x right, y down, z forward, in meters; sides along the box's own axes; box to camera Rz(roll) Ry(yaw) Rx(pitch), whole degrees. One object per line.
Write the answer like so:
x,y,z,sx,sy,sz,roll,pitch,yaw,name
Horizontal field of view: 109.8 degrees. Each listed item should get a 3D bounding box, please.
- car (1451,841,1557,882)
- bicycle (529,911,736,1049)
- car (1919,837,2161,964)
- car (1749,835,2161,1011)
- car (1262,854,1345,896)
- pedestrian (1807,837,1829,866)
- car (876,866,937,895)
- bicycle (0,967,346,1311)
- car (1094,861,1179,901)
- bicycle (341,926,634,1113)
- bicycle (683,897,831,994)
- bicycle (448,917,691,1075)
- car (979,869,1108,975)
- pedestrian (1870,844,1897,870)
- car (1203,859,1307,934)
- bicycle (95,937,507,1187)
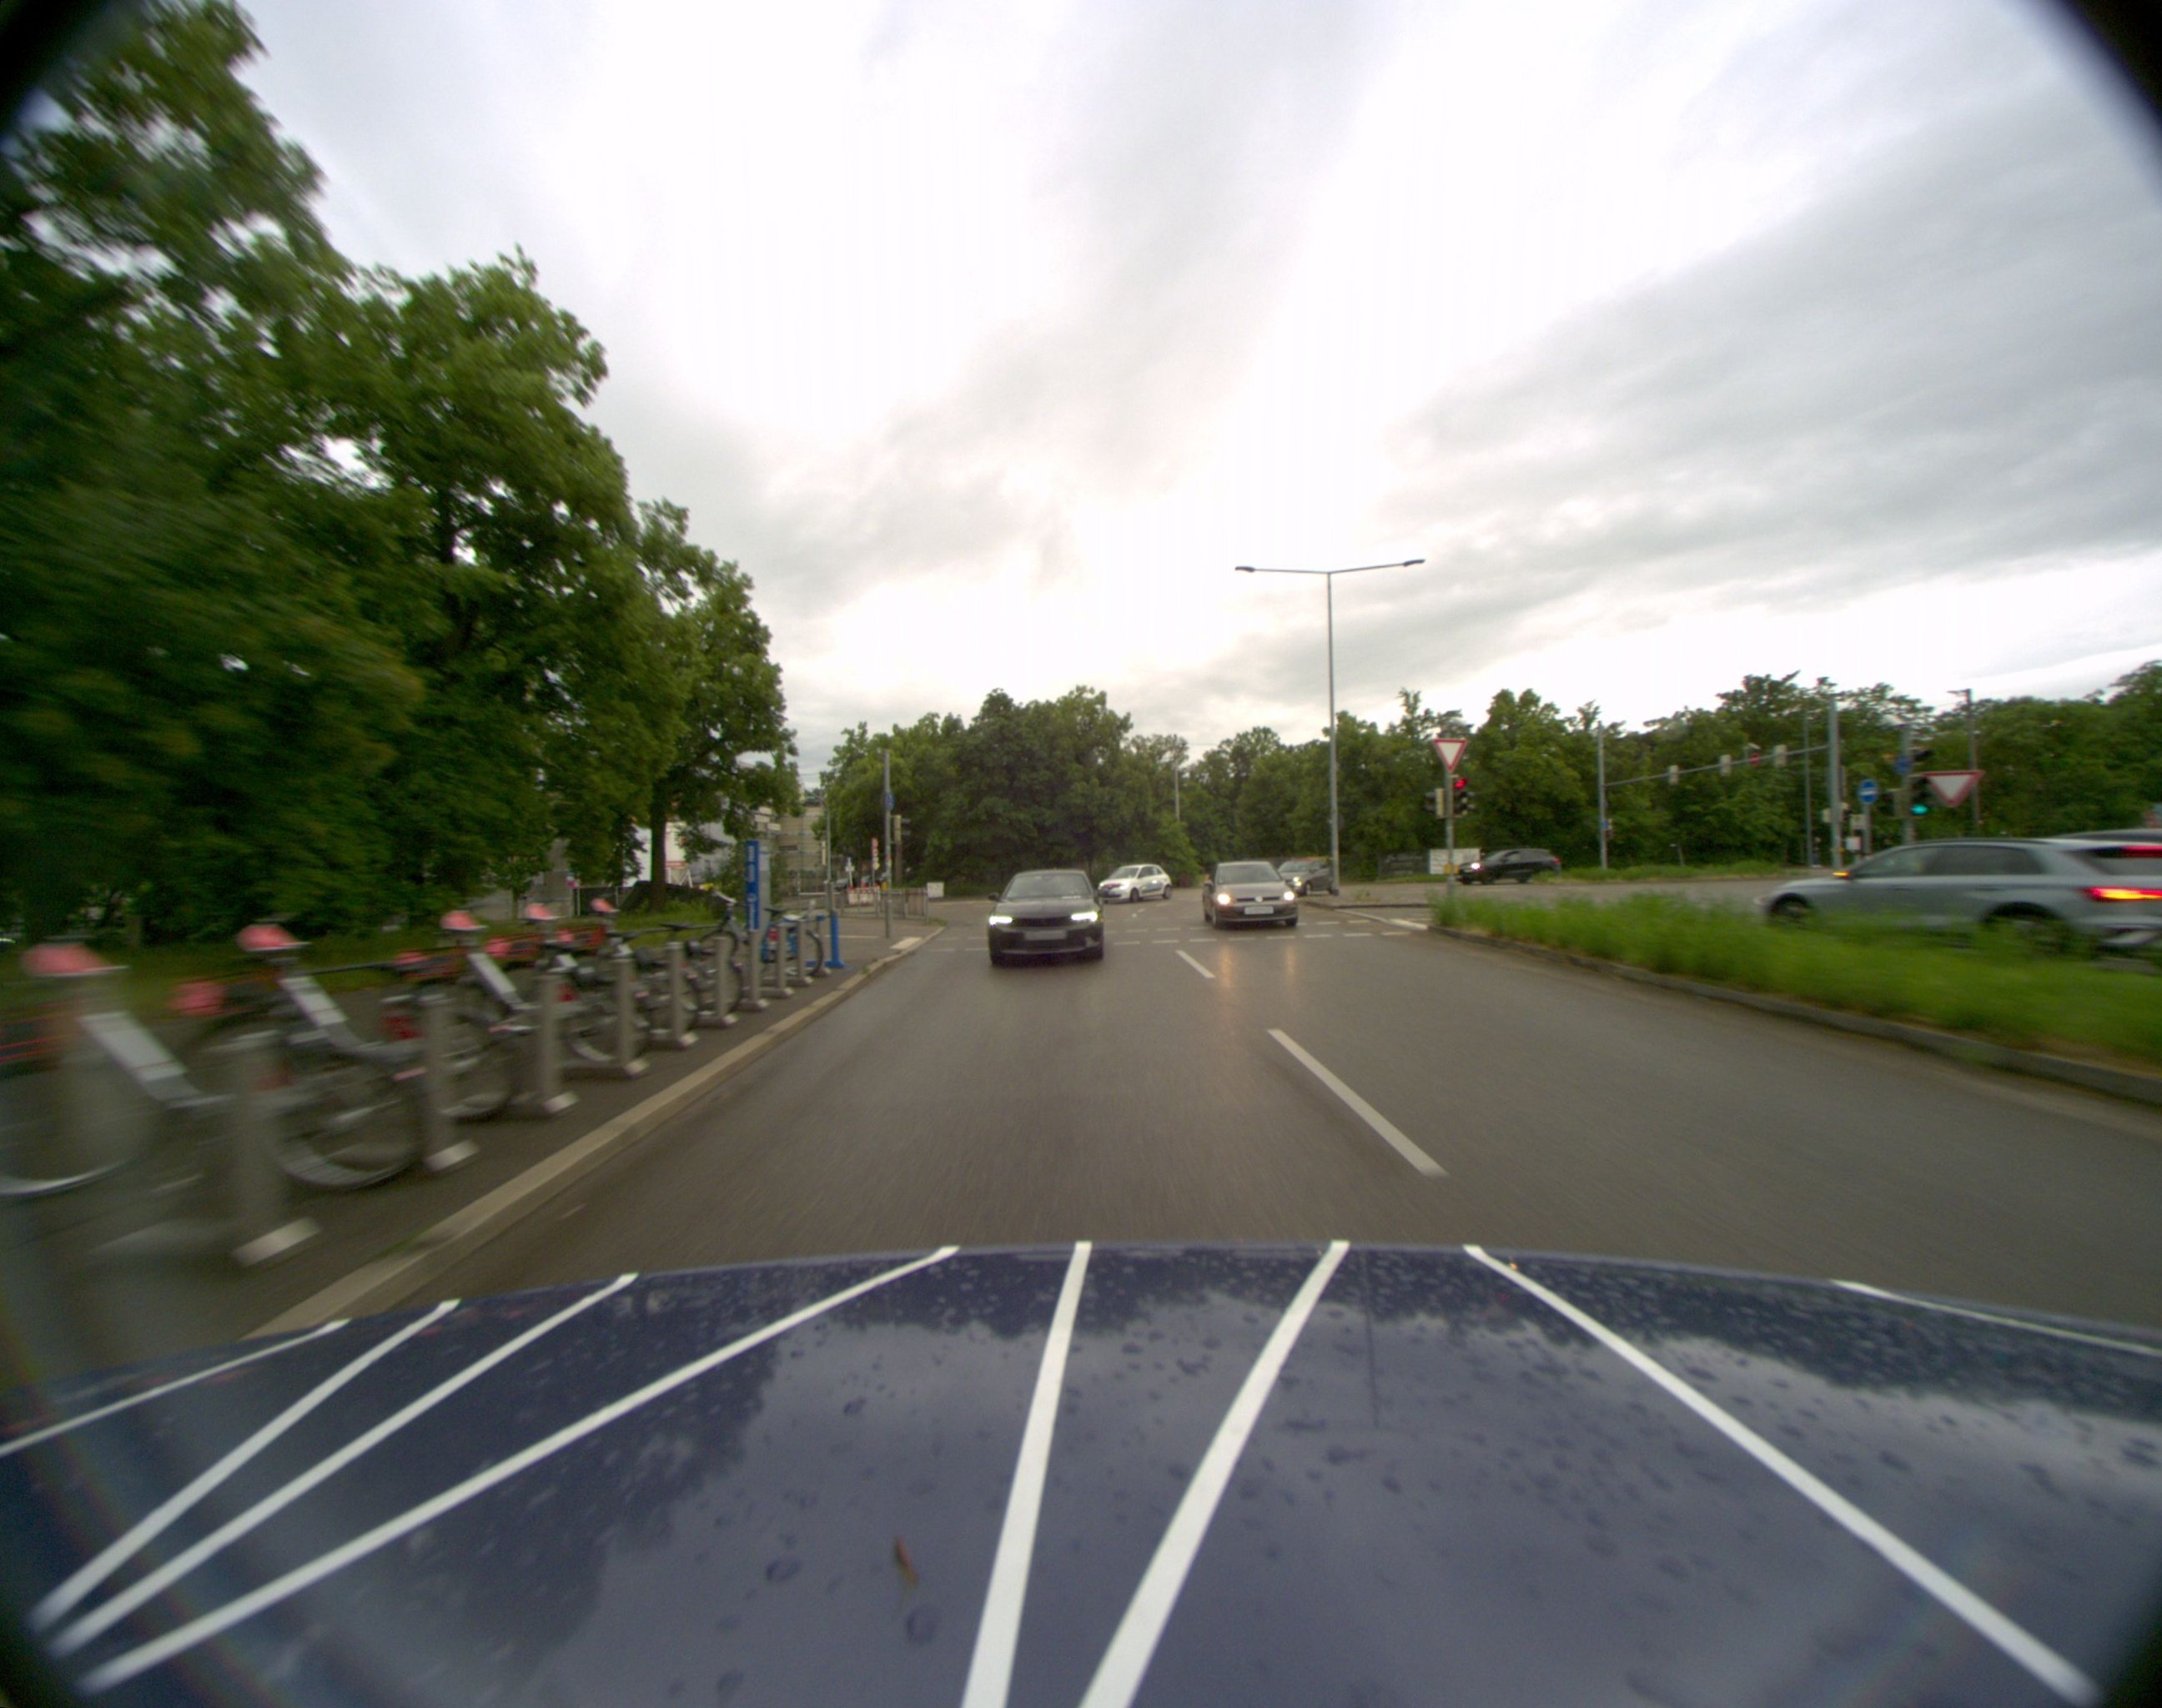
20.347,0.362,36.701,3.996,1.761,1.907,-2,0,1,car
-3.954,1.100,6.774,1.489,1.125,0.556,1,1,-3,bicycle
13.774,0.565,9.654,1.829,1.510,4.065,0,-1,2,car
10.583,0.653,8.905,1.853,1.565,4.166,-3,-2,2,car
9.004,0.813,30.578,1.667,1.520,3.664,-3,-1,44,car
47.752,-0.149,49.215,0.699,1.872,0.678,-2,0,2,pedestrian
-13.339,2.022,58.128,4.008,2.001,1.995,-2,-1,-43,car
-3.890,1.047,2.944,1.489,1.125,0.556,1,1,-3,bicycle
2.403,1.131,32.445,1.642,1.511,3.586,-3,-1,45,car
-3.928,1.082,5.108,1.489,1.125,0.556,1,1,-3,bicycle
-4.040,1.133,9.541,1.600,1.125,0.556,1,1,-3,bicycle
-3.960,1.090,5.956,1.489,1.125,0.556,1,1,-3,bicycle
-0.476,1.043,13.319,1.804,1.422,4.521,-3,-1,2,car
52.958,0.199,50.146,0.831,1.666,0.822,-2,0,2,pedestrian
3.860,0.876,17.482,1.903,1.431,4.002,-3,0,7,car
-3.935,1.032,3.917,1.489,1.125,0.556,1,1,-3,bicycle
